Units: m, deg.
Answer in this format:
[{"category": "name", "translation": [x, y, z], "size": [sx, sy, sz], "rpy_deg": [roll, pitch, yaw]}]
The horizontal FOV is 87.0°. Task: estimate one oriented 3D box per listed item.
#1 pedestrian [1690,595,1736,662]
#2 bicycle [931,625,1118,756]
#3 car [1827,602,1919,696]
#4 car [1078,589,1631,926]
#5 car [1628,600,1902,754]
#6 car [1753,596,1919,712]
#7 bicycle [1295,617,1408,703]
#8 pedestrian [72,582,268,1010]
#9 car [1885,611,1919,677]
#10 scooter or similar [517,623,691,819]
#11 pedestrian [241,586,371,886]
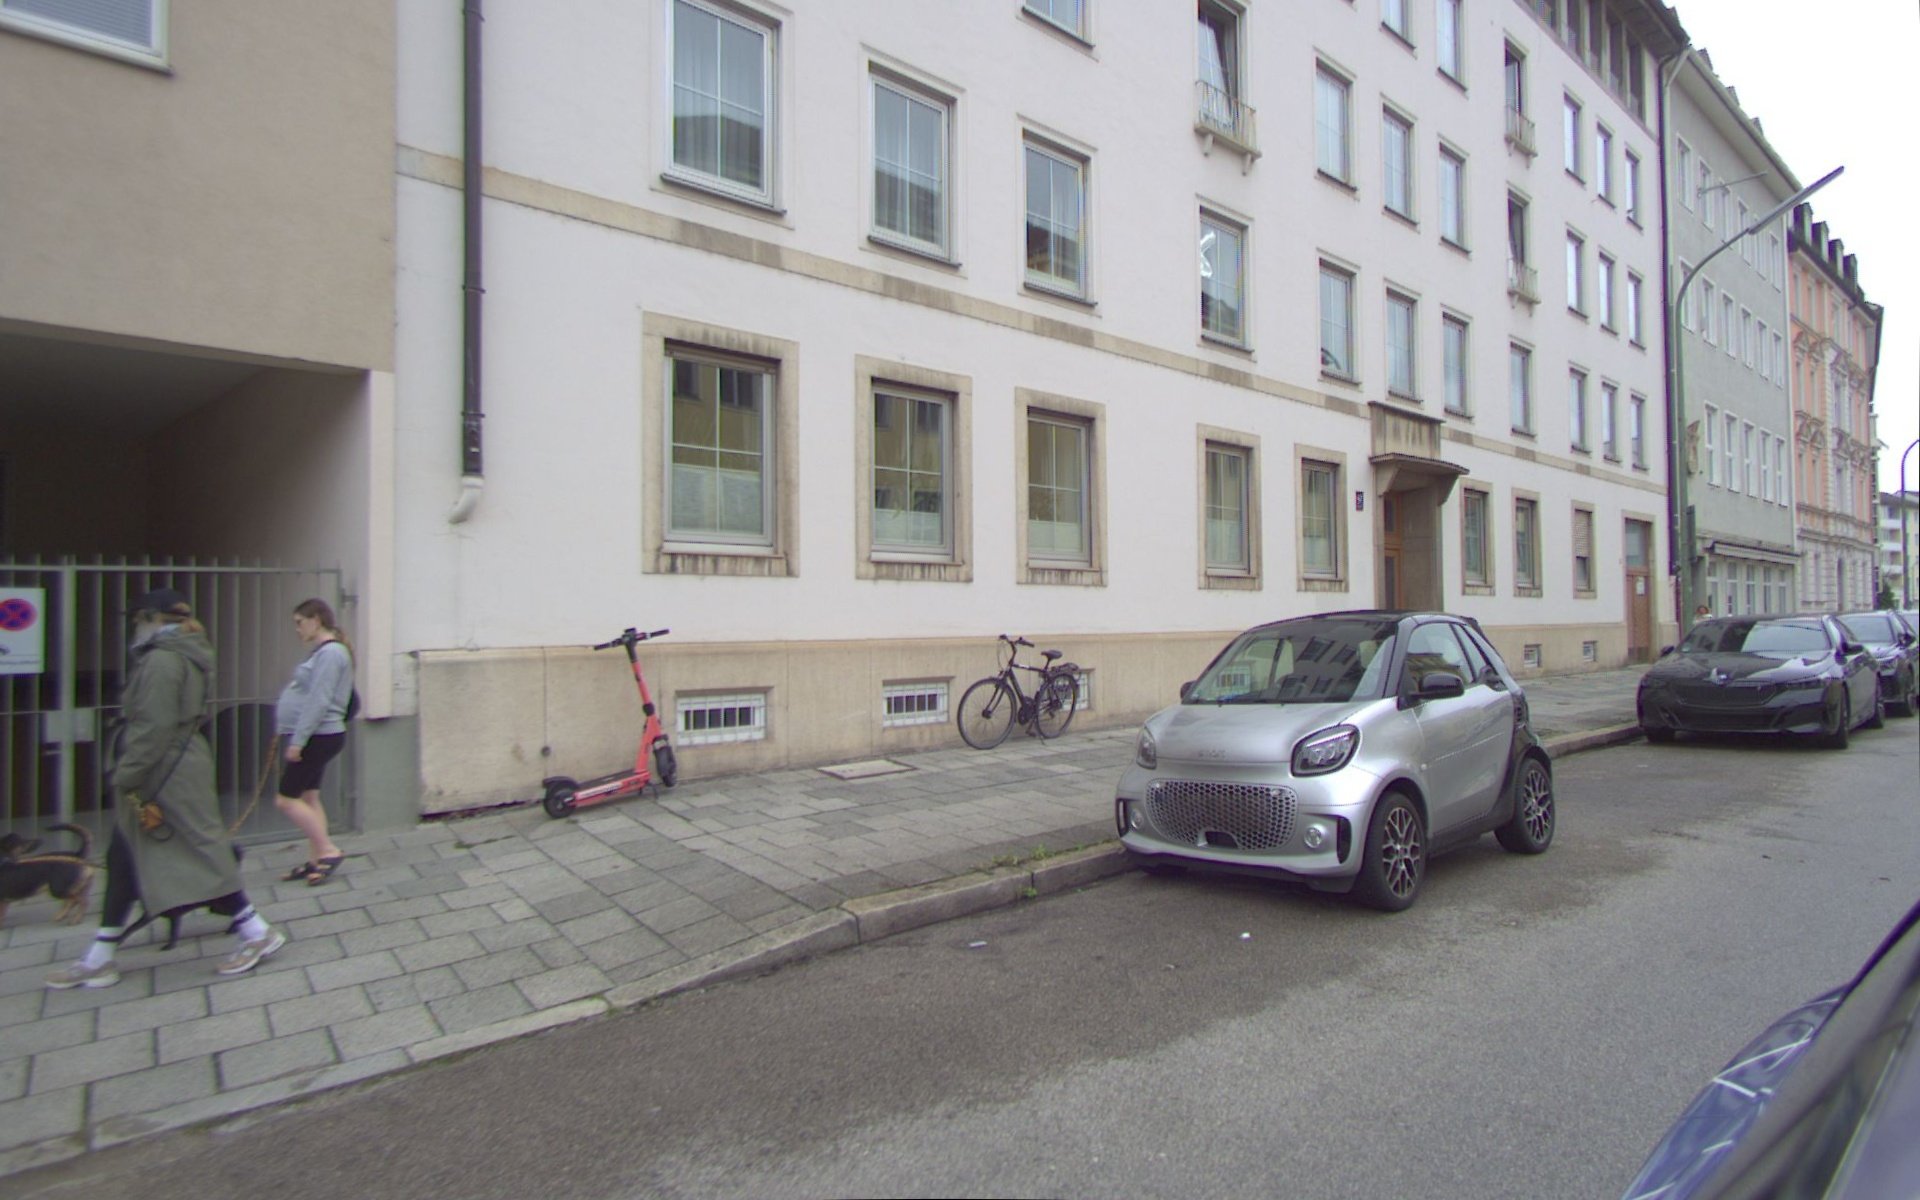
[{"category": "pedestrian", "translation": [18.807, 0.699, 25.271], "size": [0.813, 1.646, 0.736], "rpy_deg": [1, 0, -40]}, {"category": "bicycle", "translation": [0.691, 0.858, 10.276], "size": [1.992, 1.178, 0.660], "rpy_deg": [1, 0, -40]}, {"category": "car", "translation": [17.884, 0.873, 18.890], "size": [4.251, 1.605, 1.782], "rpy_deg": [1, -3, -39]}, {"category": "car", "translation": [2.713, 0.791, 6.574], "size": [3.812, 1.555, 1.674], "rpy_deg": [1, -4, -40]}, {"category": "car", "translation": [10.134, 0.840, 12.597], "size": [4.733, 1.564, 1.858], "rpy_deg": [0, -3, -42]}, {"category": "car", "translation": [14.195, 0.799, 15.947], "size": [4.195, 1.605, 1.781], "rpy_deg": [1, -3, -40]}, {"category": "bicycle", "translation": [5.671, 0.826, 14.614], "size": [1.992, 1.141, 0.660], "rpy_deg": [1, 0, -40]}, {"category": "pedestrian", "translation": [-3.432, 0.769, 4.407], "size": [0.619, 1.675, 0.598], "rpy_deg": [1, 1, -40]}, {"category": "car", "translation": [23.309, 0.979, 23.798], "size": [4.010, 1.483, 1.695], "rpy_deg": [0, -4, -40]}, {"category": "scooter or similar", "translation": [-2.636, 0.848, 7.544], "size": [0.598, 1.267, 1.024], "rpy_deg": [0, 3, 41]}, {"category": "pedestrian", "translation": [-3.758, 0.729, 5.811], "size": [0.550, 1.604, 0.532], "rpy_deg": [1, 1, -40]}]
